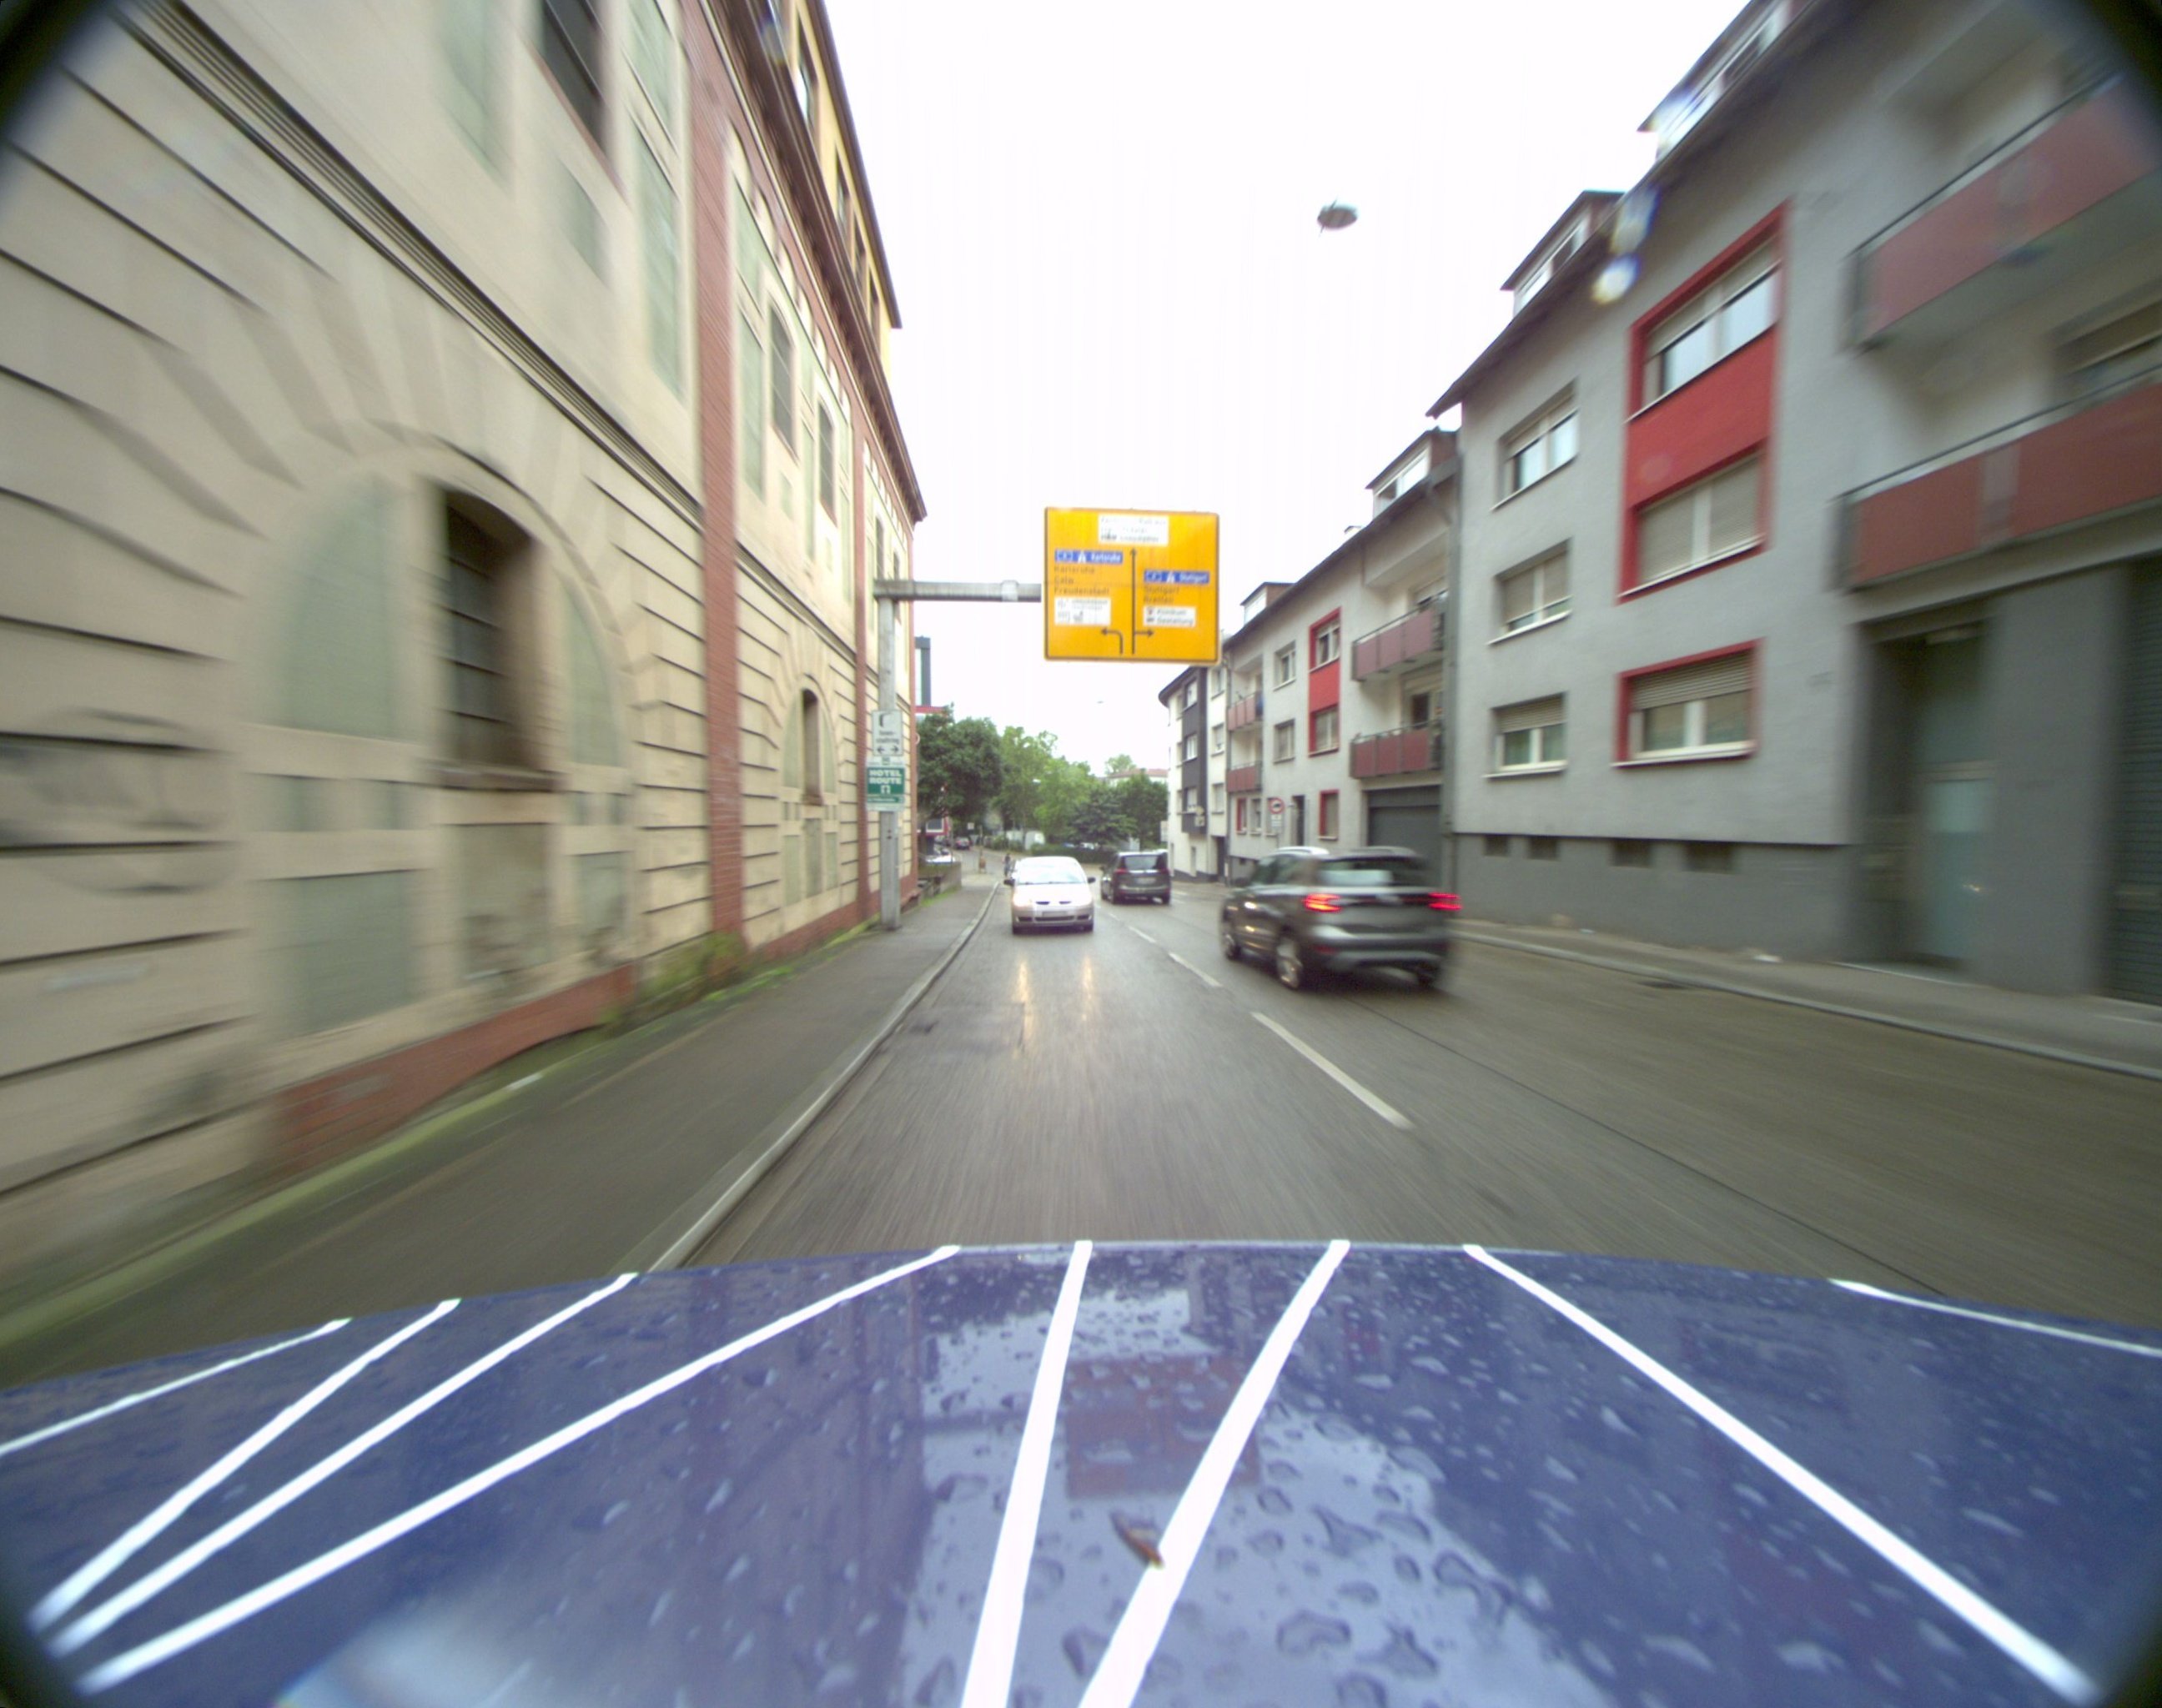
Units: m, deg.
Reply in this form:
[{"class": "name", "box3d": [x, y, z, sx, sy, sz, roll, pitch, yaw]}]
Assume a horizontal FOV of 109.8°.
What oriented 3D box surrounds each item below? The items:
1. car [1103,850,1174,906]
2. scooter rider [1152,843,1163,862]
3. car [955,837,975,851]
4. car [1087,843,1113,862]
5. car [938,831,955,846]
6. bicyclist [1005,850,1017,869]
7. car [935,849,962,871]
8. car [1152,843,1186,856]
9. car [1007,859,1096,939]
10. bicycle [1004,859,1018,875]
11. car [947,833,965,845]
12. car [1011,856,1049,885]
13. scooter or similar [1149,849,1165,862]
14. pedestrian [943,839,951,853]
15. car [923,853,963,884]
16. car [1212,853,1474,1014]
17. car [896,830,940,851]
[{"class": "car", "box3d": [1.771, 0.709, 24.563, 1.769, 1.648, 3.985, 0, 1, -3]}, {"class": "scooter rider", "box3d": [8.042, -0.159, 80.278, 0.782, 1.812, 0.802, 1, 8, -19]}, {"class": "car", "box3d": [-15.680, -1.363, 102.480, 1.911, 1.642, 3.991, 0, 4, -19]}, {"class": "car", "box3d": [2.175, -0.238, 87.205, 1.639, 1.949, 4.204, 3, 1, -17]}, {"class": "car", "box3d": [-20.461, -2.395, 115.383, 1.911, 2.064, 3.991, -1, 4, -19]}, {"class": "bicyclist", "box3d": [-5.546, 0.451, 60.207, 0.888, 1.481, 0.968, 0, 1, 2]}, {"class": "car", "box3d": [-11.412, 0.498, 65.151, 1.934, 1.702, 4.484, 0, 2, -15]}, {"class": "car", "box3d": [11.299, -0.571, 97.463, 4.006, 1.502, 1.795, 3, 2, -26]}, {"class": "car", "box3d": [-0.681, 0.881, 16.692, 1.687, 1.496, 3.837, -2, 0, -3]}, {"class": "bicycle", "box3d": [-5.552, 1.006, 60.247, 0.888, 1.180, 2.133, 0, 1, 2]}, {"class": "car", "box3d": [-17.920, -2.142, 108.626, 1.911, 1.642, 3.991, 0, 4, -19]}, {"class": "car", "box3d": [-2.766, 0.876, 40.543, 1.688, 1.418, 3.836, -2, -1, -9]}, {"class": "scooter or similar", "box3d": [8.071, 0.166, 80.342, 1.410, 1.316, 0.802, 1, 8, -19]}, {"class": "pedestrian", "box3d": [-14.536, -0.859, 82.344, 0.704, 1.559, 0.620, -1, 5, -17]}, {"class": "car", "box3d": [-7.788, 0.815, 43.214, 1.858, 1.607, 4.913, 0, -1, -6]}, {"class": "car", "box3d": [2.953, 0.797, 9.468, 1.769, 1.567, 3.763, 0, 1, -3]}, {"class": "car", "box3d": [-18.649, -1.526, 87.020, 4.894, 2.200, 1.880, 1, 4, -12]}]
